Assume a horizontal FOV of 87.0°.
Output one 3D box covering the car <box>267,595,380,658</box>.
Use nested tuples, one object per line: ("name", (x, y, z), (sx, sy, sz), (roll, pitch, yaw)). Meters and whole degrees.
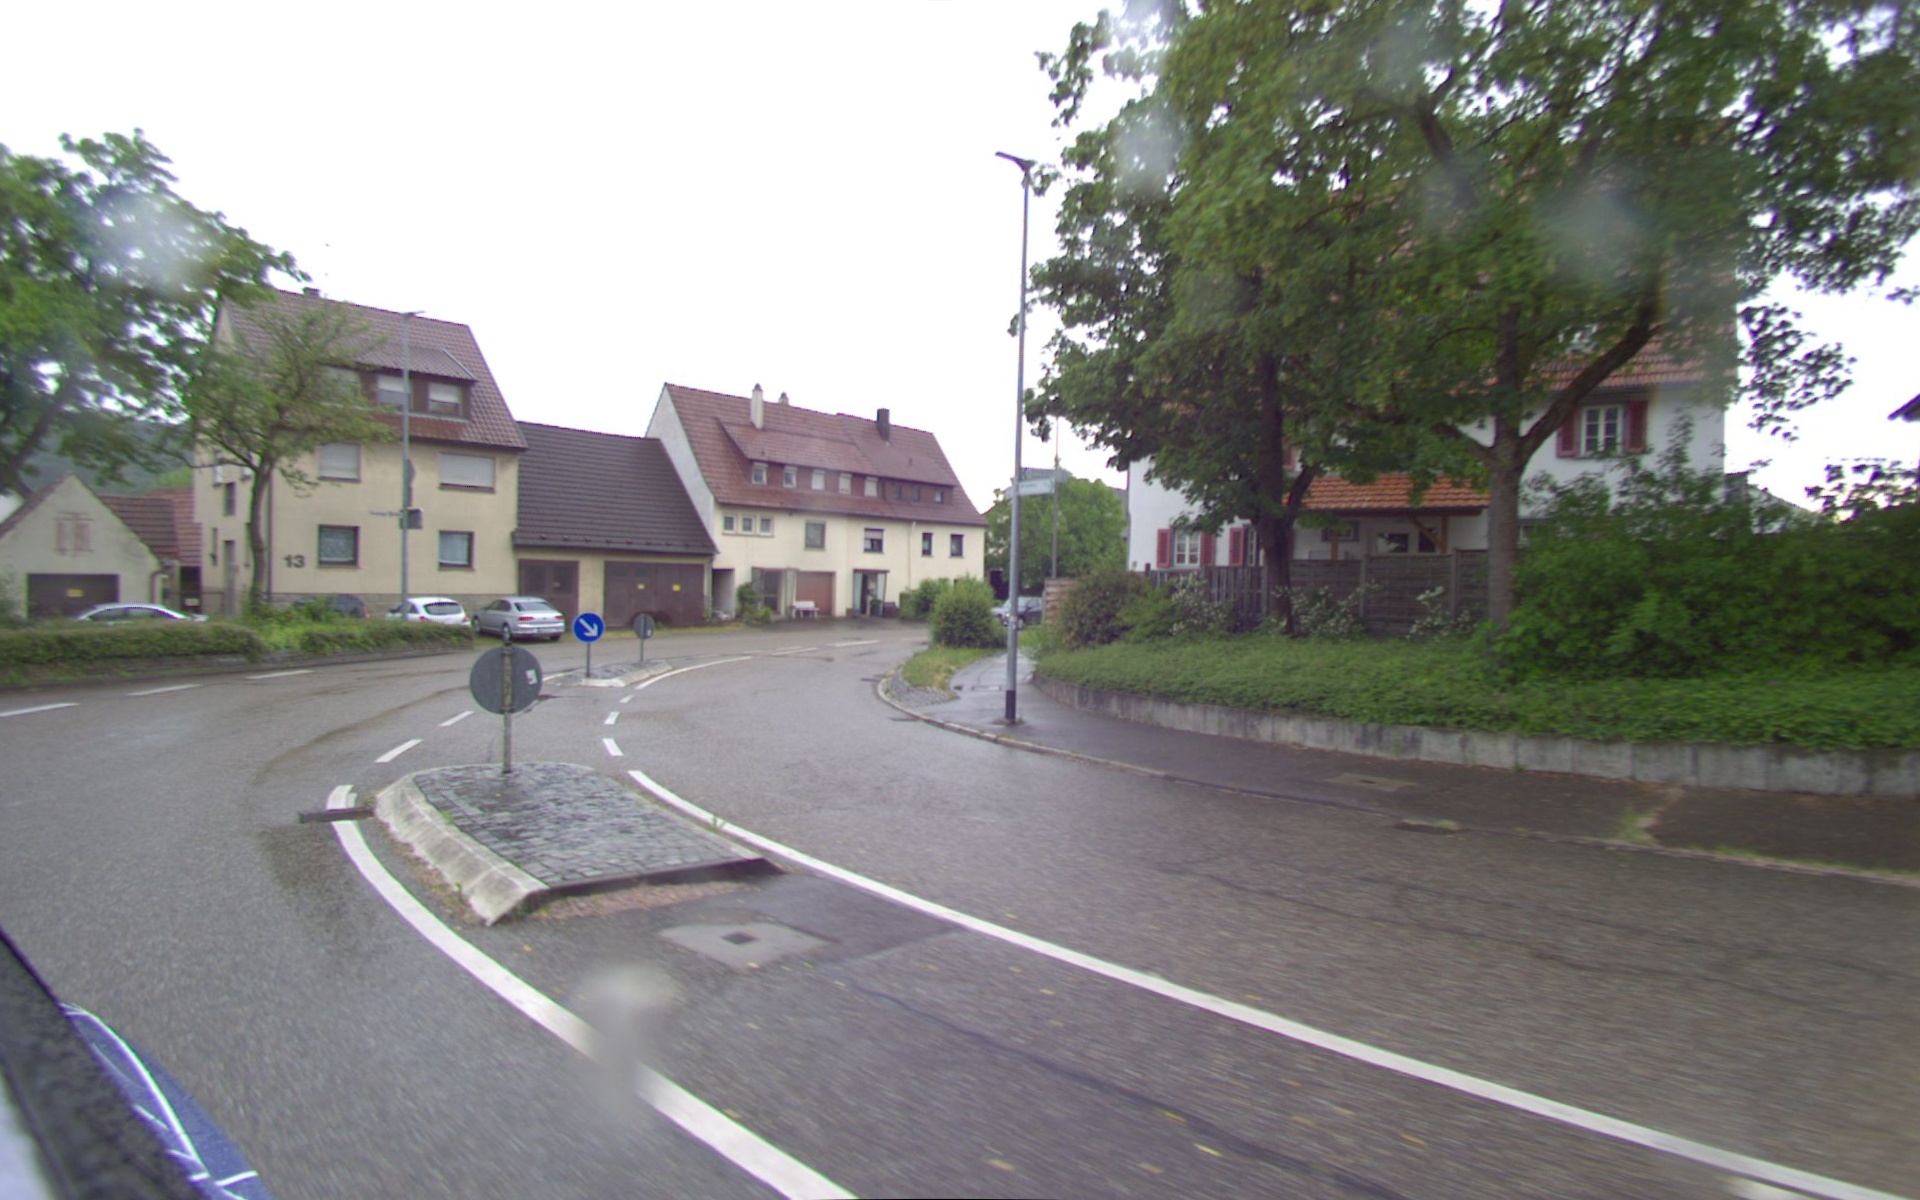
("car", (-19.686, 0.750, 31.238), (3.996, 1.594, 1.726), (4, 4, 38))

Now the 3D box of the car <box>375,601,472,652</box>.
("car", (-17.658, 0.820, 33.293), (3.429, 1.541, 1.696), (0, 1, 41))

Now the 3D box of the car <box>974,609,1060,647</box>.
("car", (2.703, 1.277, 47.245), (1.999, 1.541, 3.946), (4, 3, 41))

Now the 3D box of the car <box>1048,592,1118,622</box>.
("car", (7.735, 0.422, 63.438), (4.409, 1.723, 1.917), (0, 1, -40))

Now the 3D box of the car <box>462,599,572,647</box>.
("car", (-15.476, 0.742, 35.239), (4.628, 1.425, 1.795), (2, 2, 43))

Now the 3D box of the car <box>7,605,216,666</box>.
("car", (-23.072, 0.910, 27.615), (1.909, 1.450, 4.204), (2, 2, 44))
